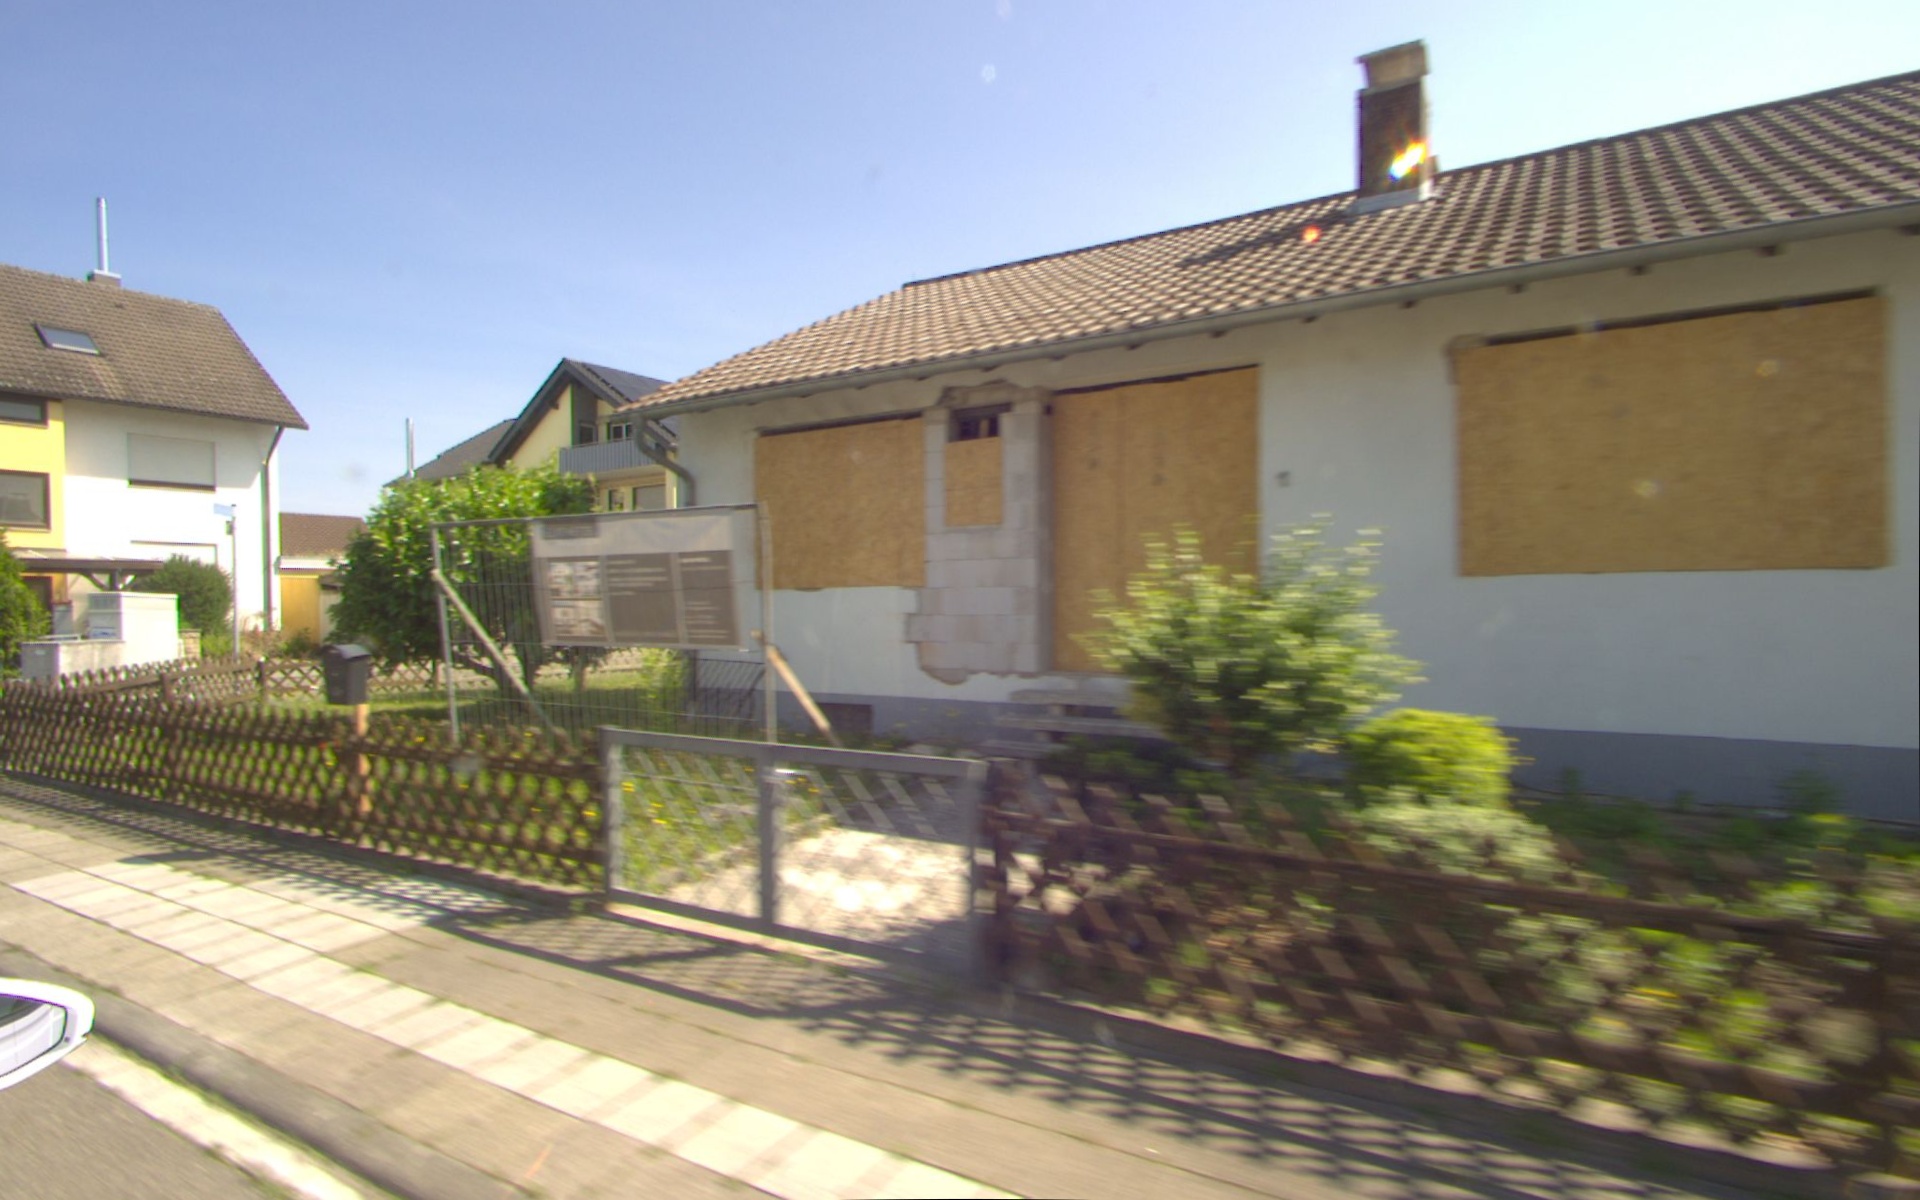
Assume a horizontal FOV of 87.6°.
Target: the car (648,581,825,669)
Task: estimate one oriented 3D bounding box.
[{"bbox_3d":[-5.399,0.567,24.673,1.845,1.964,4.181,-1,0,32],"label":"car"}]
